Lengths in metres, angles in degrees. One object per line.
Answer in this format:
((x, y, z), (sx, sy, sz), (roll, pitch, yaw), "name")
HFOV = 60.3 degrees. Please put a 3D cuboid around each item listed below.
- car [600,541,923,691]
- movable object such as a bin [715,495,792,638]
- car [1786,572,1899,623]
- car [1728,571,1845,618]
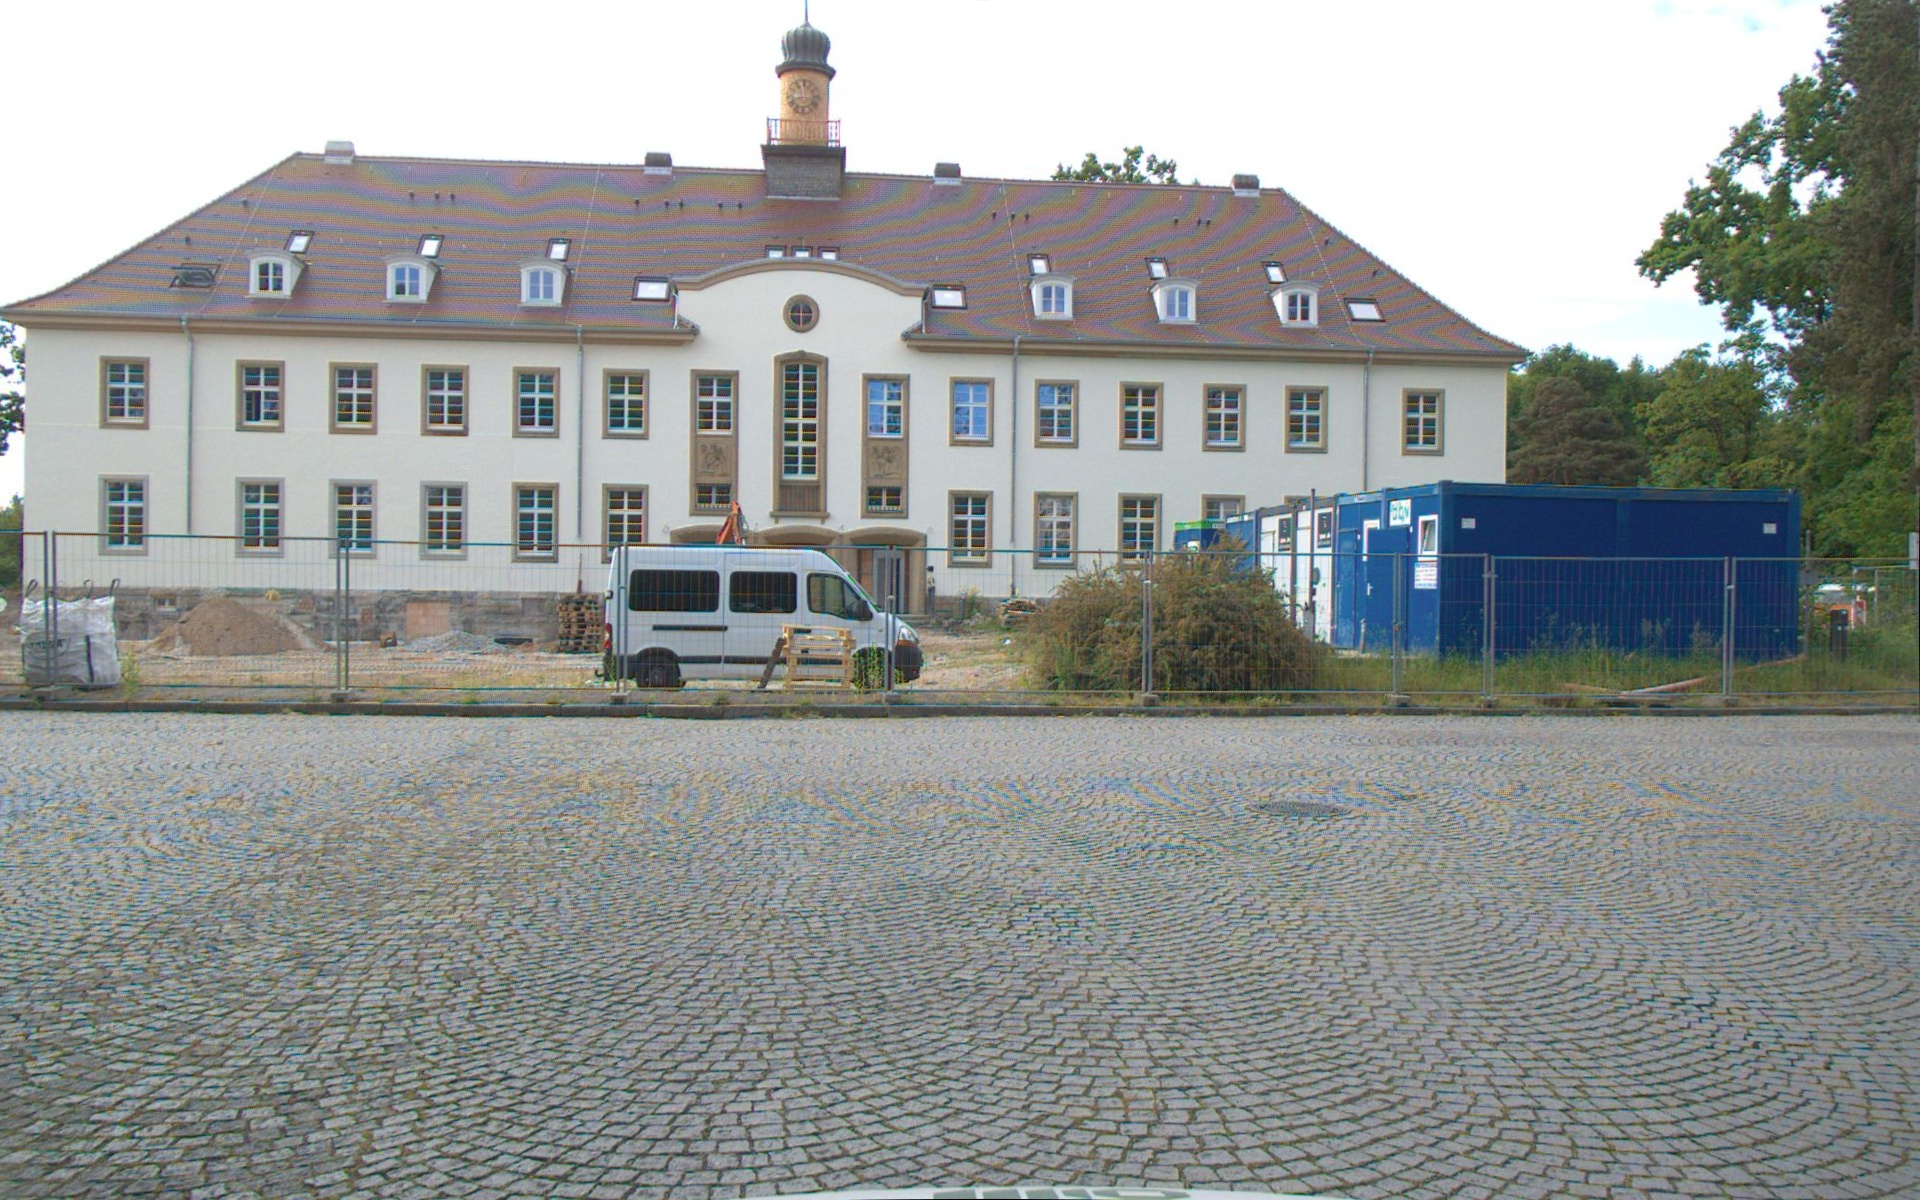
((-3.252, 0.259, 27.668), (5.159, 2.385, 1.908), (1, 0, -5), "car")
((-5.943, -0.914, 47.138), (1.957, 3.837, 5.306), (1, 0, -9), "movable object such as a bin")
((27.380, -0.102, 51.304), (3.945, 1.513, 1.600), (0, 2, -37), "car")
((27.457, -0.194, 54.870), (4.398, 1.528, 1.741), (0, 1, -37), "car")
